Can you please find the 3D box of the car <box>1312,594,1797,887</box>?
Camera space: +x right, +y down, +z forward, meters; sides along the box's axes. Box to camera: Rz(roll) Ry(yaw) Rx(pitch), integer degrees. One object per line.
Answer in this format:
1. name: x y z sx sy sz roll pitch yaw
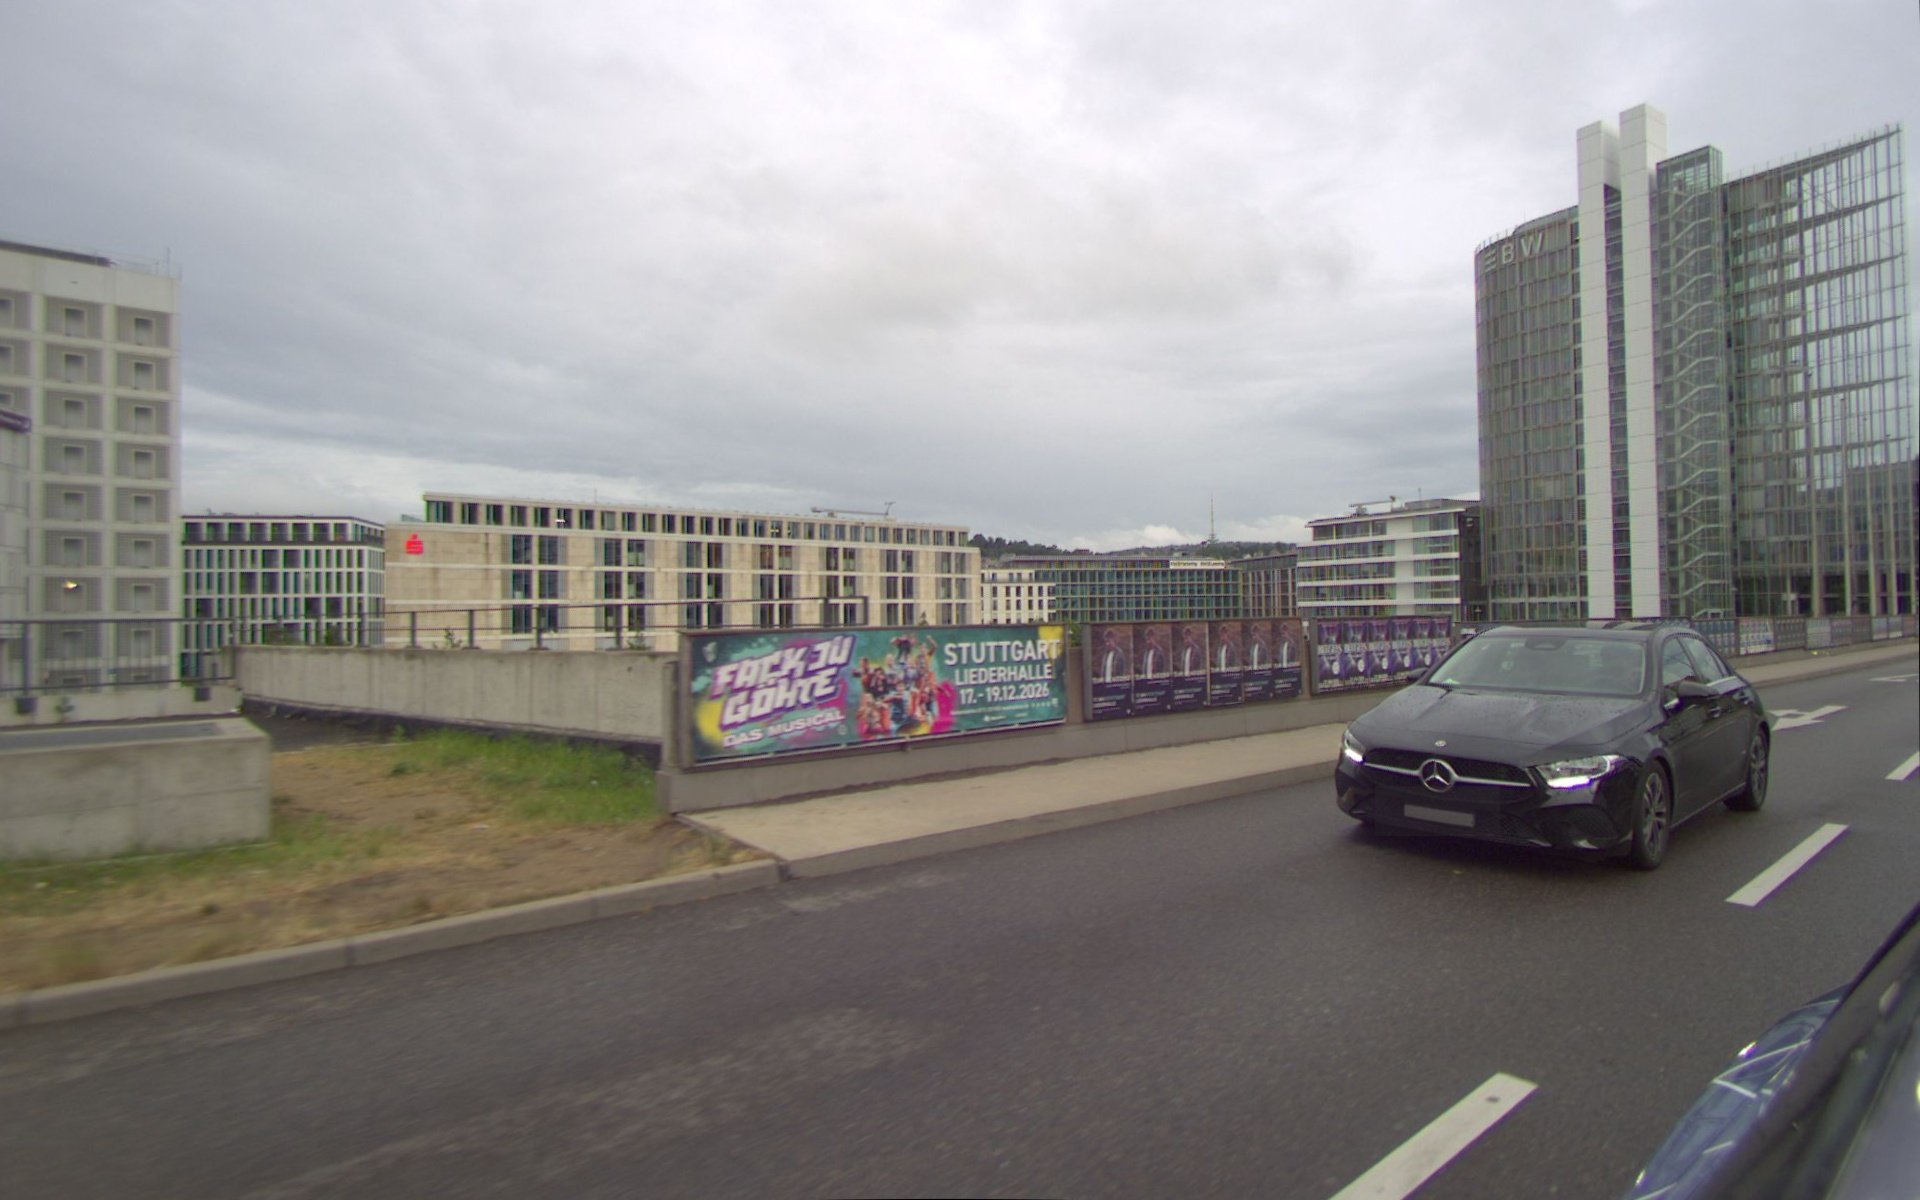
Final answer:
1. car: 4.338 0.703 7.107 4.083 1.393 1.726 -2 1 -41
